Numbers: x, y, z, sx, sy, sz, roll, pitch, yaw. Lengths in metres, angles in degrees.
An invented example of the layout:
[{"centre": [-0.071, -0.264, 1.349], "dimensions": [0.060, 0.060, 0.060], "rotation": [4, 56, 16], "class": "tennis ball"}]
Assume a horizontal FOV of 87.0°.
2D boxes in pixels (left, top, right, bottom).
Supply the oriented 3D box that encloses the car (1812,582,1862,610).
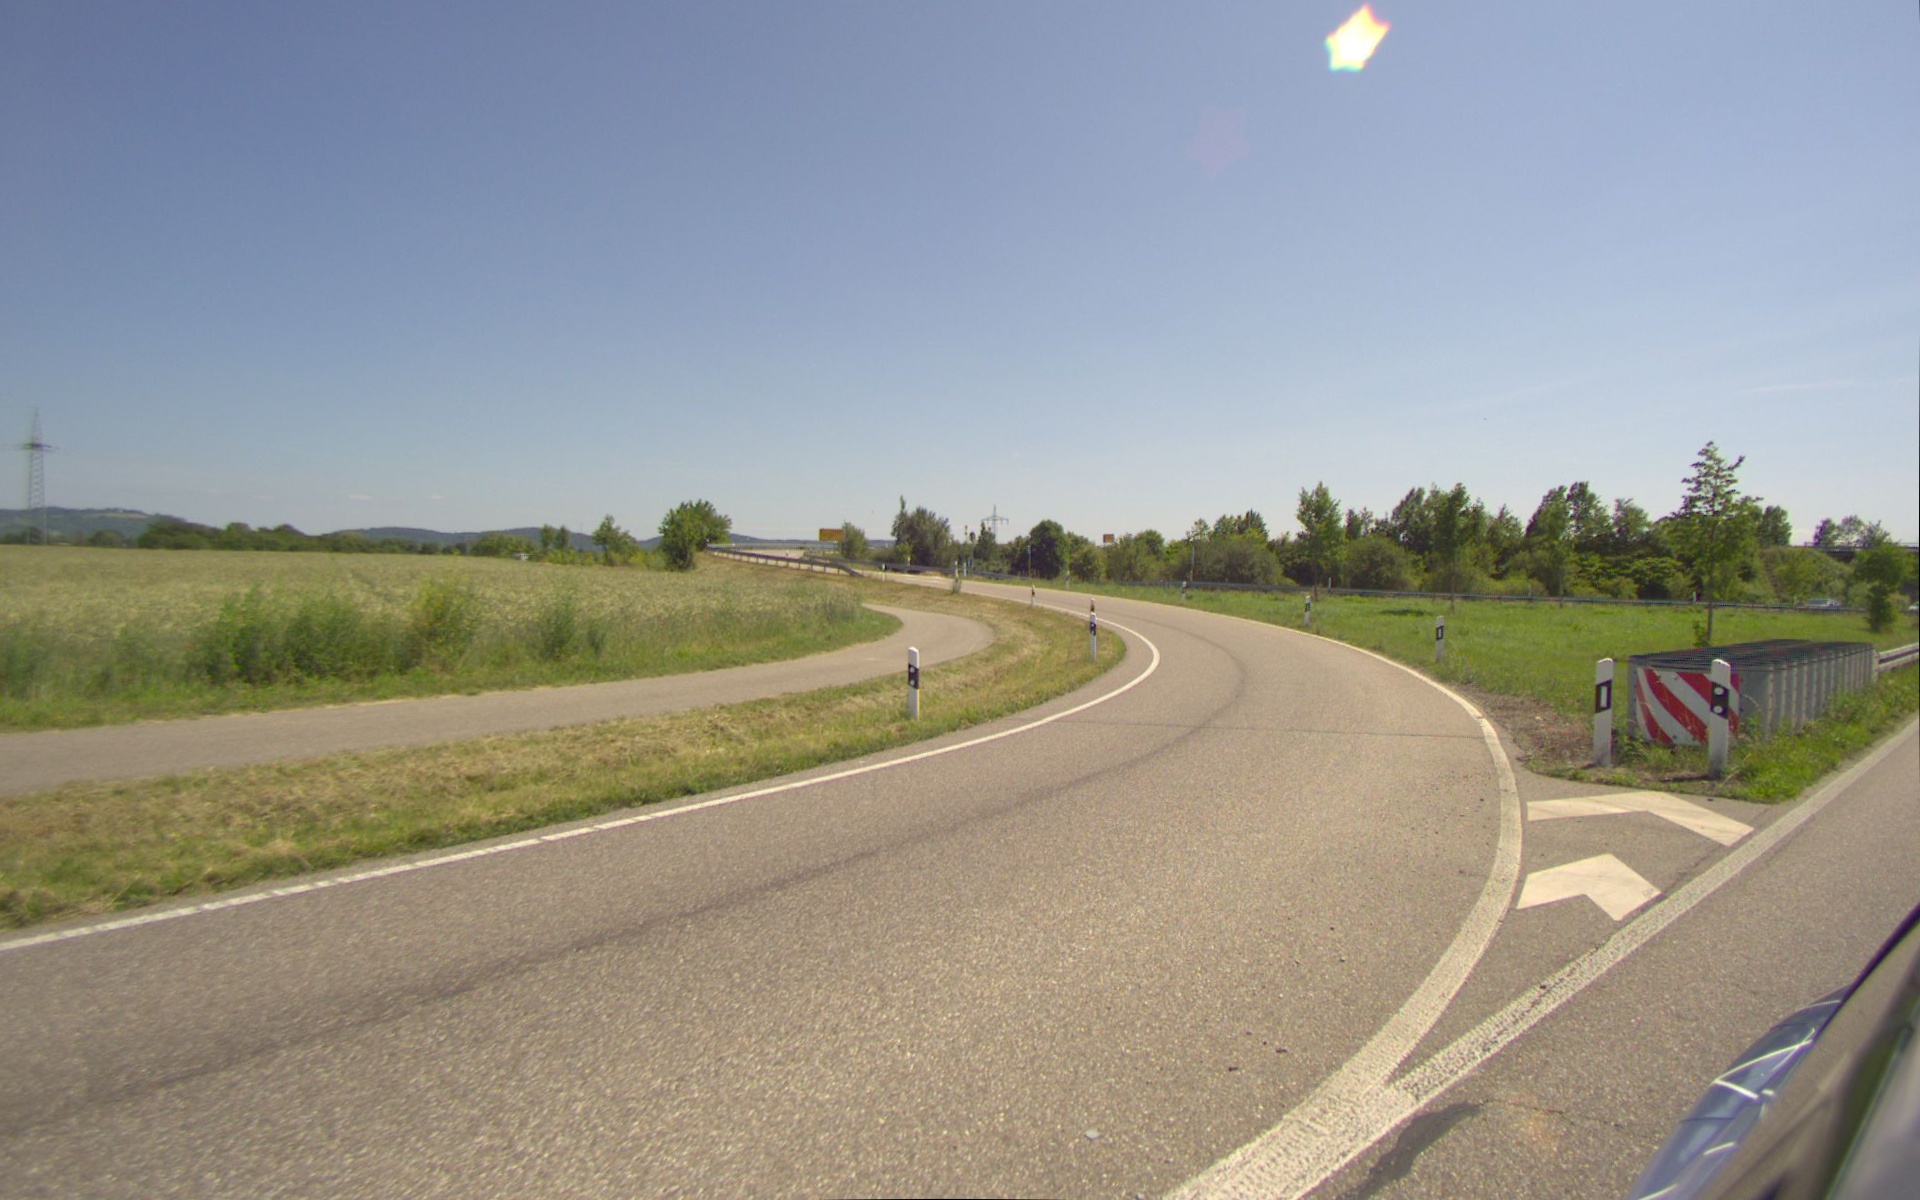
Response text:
[{"centre": [66.681, -0.287, 76.926], "dimensions": [3.649, 2.038, 1.798], "rotation": [0, 2, -33], "class": "car"}]
